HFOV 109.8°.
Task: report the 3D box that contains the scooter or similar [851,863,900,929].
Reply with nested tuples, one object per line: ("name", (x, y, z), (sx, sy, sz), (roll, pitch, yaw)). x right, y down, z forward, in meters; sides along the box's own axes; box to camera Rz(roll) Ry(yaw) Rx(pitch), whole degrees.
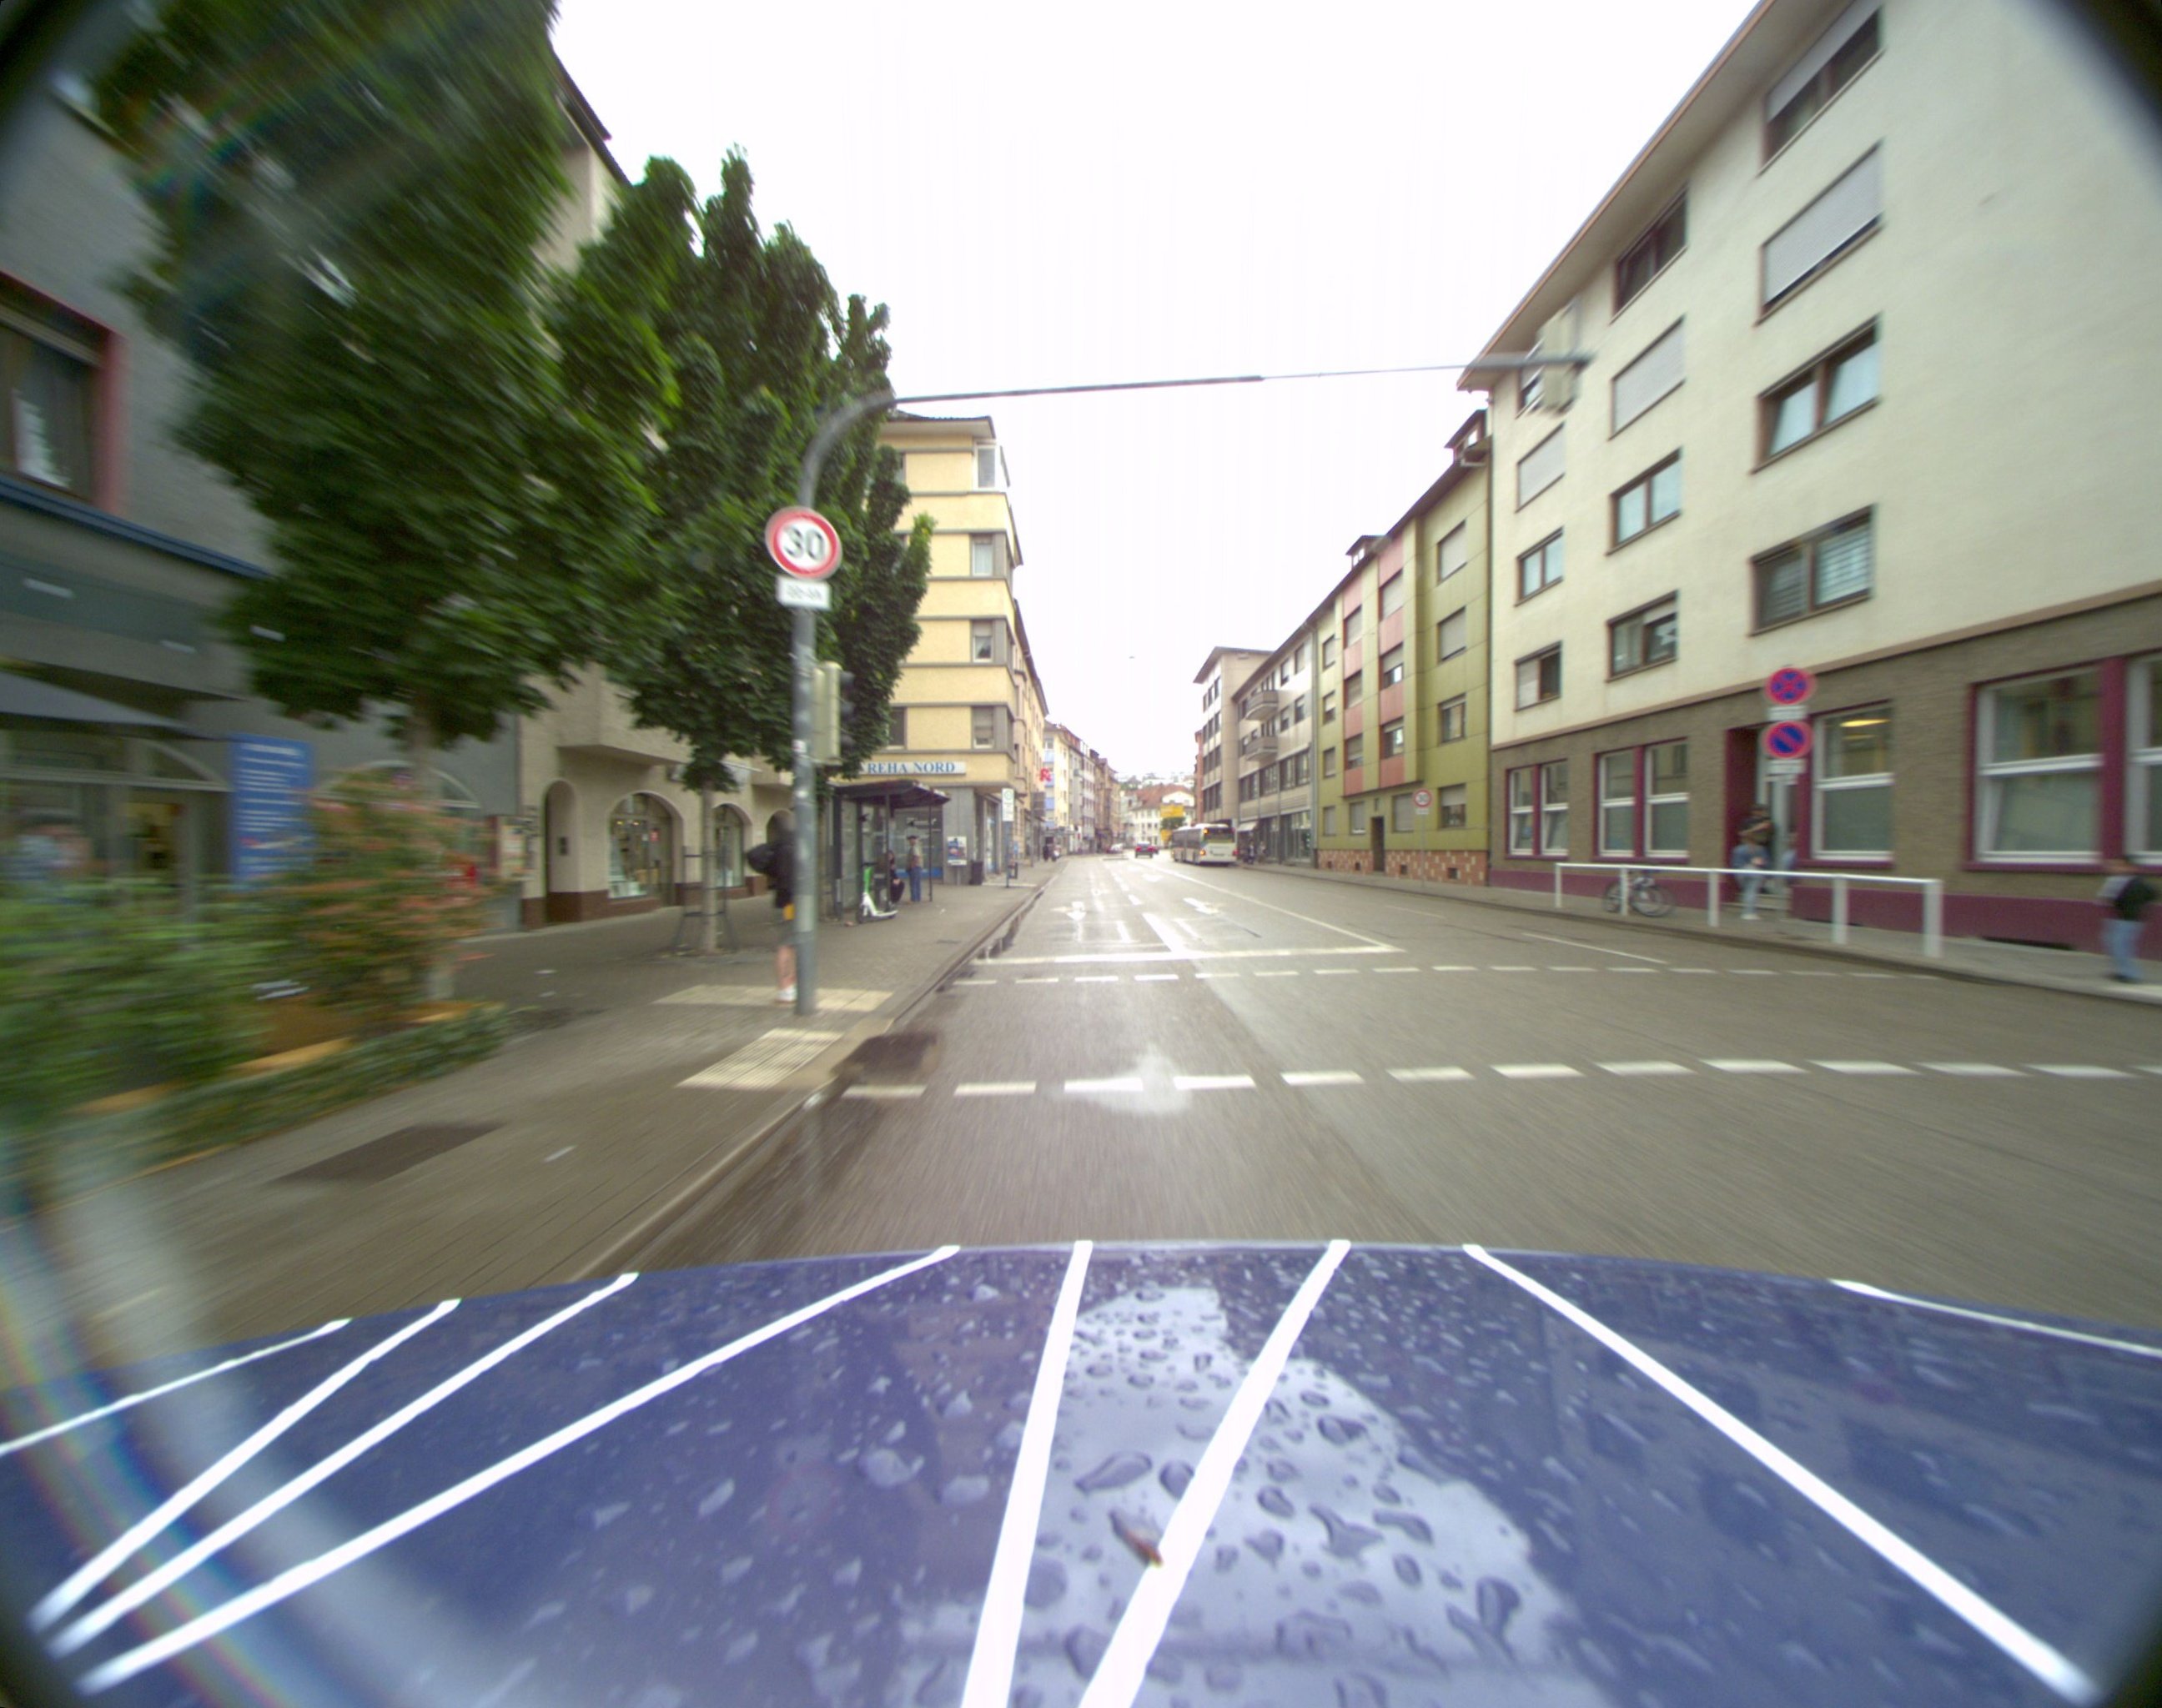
("scooter or similar", (-4.003, 0.794, 14.882), (0.512, 1.166, 1.548), (0, 2, 1))

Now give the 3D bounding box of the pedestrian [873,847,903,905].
("pedestrian", (-4.552, 0.506, 17.916), (0.535, 1.342, 0.596), (0, 2, -1))

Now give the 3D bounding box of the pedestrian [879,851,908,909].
("pedestrian", (-4.564, 0.617, 18.506), (0.565, 1.389, 0.514), (0, 2, -2))

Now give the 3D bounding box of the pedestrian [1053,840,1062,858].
("pedestrian", (-1.961, -0.412, 64.153), (0.780, 1.551, 0.782), (0, 2, -1))

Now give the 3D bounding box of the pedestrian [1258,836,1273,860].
("pedestrian", (12.437, -0.429, 51.280), (0.839, 1.606, 0.711), (0, 2, 0))

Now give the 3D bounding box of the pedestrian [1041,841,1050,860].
("pedestrian", (-2.995, -0.308, 64.162), (0.770, 1.551, 0.876), (0, 2, -1))

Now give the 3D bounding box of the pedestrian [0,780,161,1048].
("pedestrian", (-8.538, 0.440, 6.040), (0.899, 2.002, 1.200), (0, 2, 0))

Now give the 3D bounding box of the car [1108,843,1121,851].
("car", (5.698, -1.178, 128.205), (1.747, 1.361, 4.317), (0, 1, 9))

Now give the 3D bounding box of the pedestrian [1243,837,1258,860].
("pedestrian", (11.516, -0.373, 51.643), (0.801, 1.526, 0.711), (0, 2, 0))

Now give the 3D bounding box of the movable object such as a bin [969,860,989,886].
("movable object such as a bin", (-3.695, 0.673, 27.548), (0.601, 0.921, 0.704), (0, 2, 0))

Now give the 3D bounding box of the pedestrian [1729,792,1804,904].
("pedestrian", (13.144, -0.121, 14.591), (0.713, 2.088, 0.730), (0, 2, -3))

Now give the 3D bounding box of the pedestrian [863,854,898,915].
("pedestrian", (-4.547, 0.684, 17.266), (0.607, 1.328, 0.625), (0, 2, -1))

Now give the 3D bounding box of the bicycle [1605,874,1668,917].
("bicycle", (11.534, 0.838, 15.811), (0.265, 0.779, 1.421), (0, 2, 1))

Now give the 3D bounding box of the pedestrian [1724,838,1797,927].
("pedestrian", (12.125, 0.484, 13.581), (0.576, 1.545, 0.739), (0, 2, -2))

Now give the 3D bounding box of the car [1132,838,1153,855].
("car", (6.570, -0.821, 81.321), (1.935, 1.747, 4.572), (0, 2, 1))

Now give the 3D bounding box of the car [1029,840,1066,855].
("car", (-3.729, -0.711, 84.342), (3.833, 1.565, 1.937), (0, 2, 6))

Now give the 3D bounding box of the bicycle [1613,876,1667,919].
("bicycle", (11.197, 0.860, 15.248), (0.265, 0.779, 1.111), (0, 2, 1))

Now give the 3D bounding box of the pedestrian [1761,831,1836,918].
("pedestrian", (13.119, 0.359, 13.909), (0.775, 1.568, 0.588), (0, 2, 0))

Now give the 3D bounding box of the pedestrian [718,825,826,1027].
("pedestrian", (-2.888, 0.646, 7.170), (0.735, 1.831, 0.631), (0, 2, -1))

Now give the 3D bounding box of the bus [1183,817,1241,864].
("bus", (9.501, -1.066, 55.958), (2.732, 3.171, 9.290), (0, 2, 0))

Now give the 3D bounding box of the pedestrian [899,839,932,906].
("pedestrian", (-4.233, 0.465, 19.468), (0.620, 1.690, 0.656), (0, 2, 5))

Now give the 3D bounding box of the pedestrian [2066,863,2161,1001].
("pedestrian", (11.200, 0.807, 8.086), (0.546, 1.380, 0.649), (-1, 2, 2))

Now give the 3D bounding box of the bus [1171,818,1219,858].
("bus", (9.552, -1.392, 64.645), (2.765, 3.171, 8.909), (0, 2, 0))
